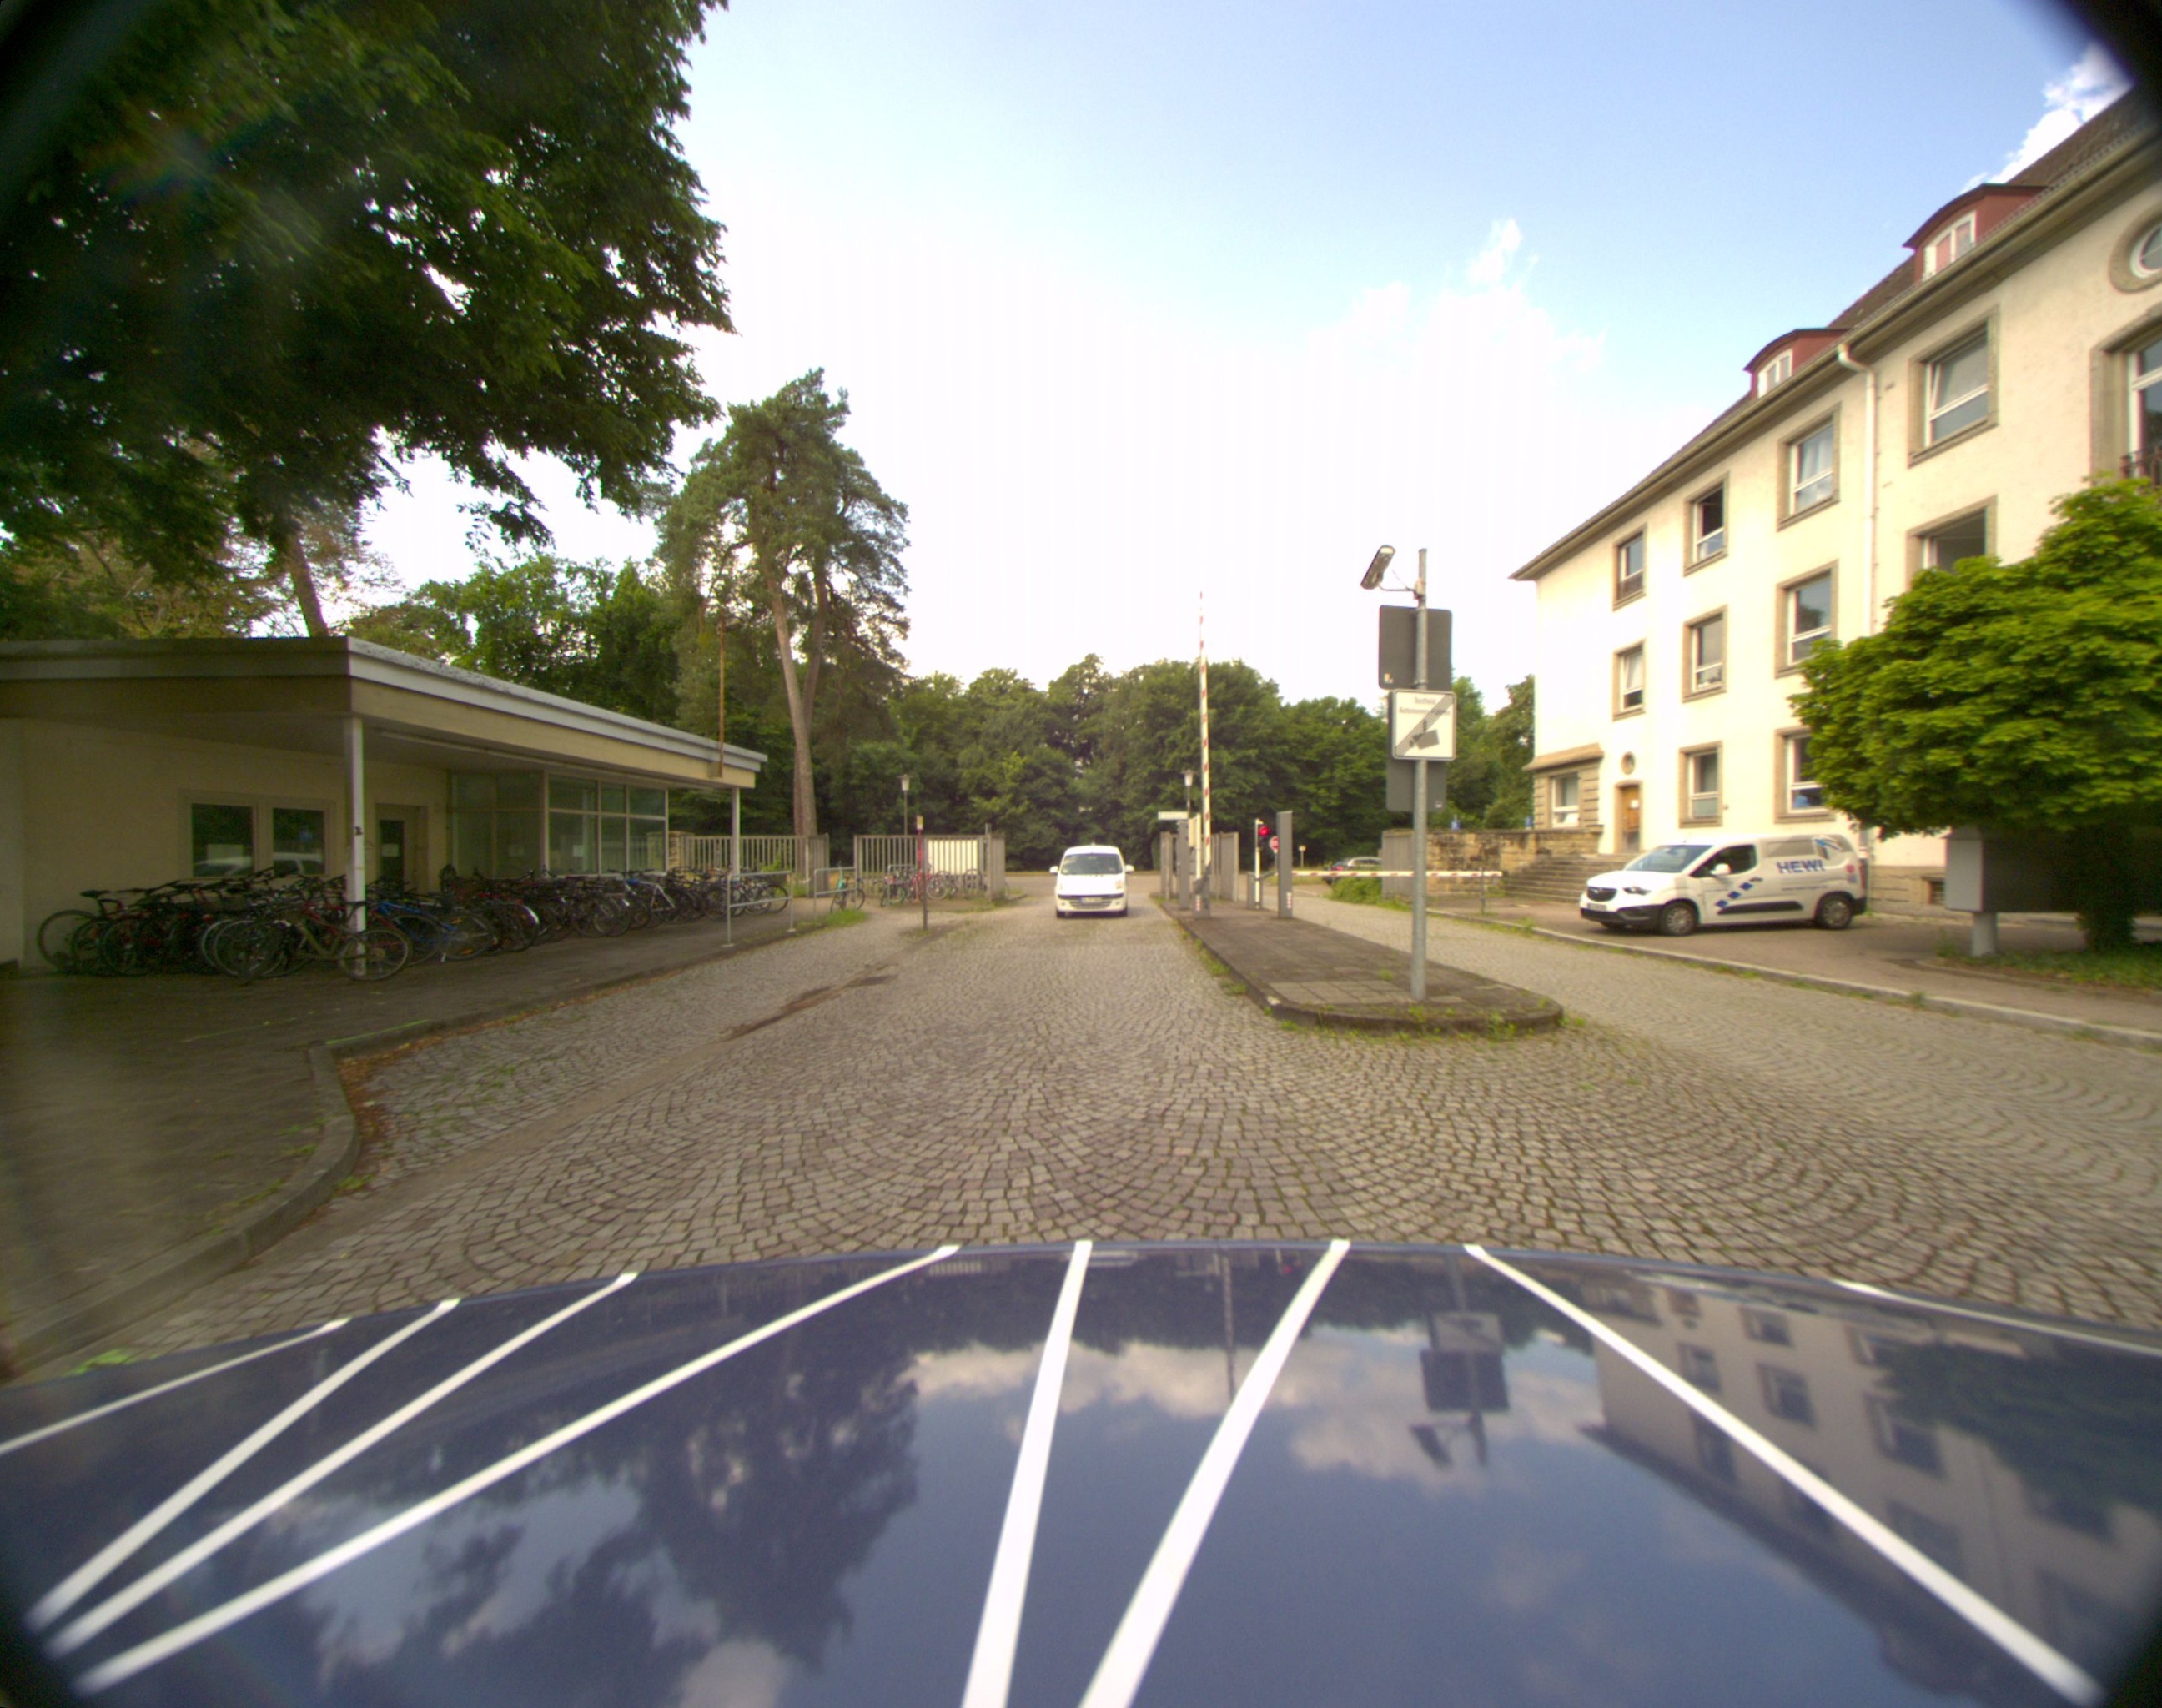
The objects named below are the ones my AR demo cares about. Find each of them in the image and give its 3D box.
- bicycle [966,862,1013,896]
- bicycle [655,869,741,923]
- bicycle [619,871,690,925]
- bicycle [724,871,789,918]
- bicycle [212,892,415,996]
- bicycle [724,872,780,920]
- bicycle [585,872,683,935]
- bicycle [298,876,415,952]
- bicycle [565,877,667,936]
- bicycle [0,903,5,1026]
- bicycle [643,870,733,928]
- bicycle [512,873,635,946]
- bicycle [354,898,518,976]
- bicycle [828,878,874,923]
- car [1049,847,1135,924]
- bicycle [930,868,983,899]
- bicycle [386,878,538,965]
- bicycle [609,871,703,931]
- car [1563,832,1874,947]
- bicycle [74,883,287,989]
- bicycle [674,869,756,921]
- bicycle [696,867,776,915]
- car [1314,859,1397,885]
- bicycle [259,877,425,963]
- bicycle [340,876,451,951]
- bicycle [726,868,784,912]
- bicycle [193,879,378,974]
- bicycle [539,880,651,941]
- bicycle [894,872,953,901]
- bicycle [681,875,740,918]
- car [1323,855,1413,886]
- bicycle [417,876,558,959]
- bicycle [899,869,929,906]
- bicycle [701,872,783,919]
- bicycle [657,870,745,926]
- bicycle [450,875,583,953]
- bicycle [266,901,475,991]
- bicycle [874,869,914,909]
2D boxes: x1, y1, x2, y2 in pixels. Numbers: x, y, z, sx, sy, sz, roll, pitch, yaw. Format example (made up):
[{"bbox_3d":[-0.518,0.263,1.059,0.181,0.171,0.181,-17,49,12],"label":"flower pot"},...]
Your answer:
[{"bbox_3d":[-3.378,0.929,28.152,1.655,1.223,0.749,1,1,-6],"label":"bicycle"},{"bbox_3d":[-8.259,0.903,16.405,1.617,1.134,0.356,1,0,-6],"label":"bicycle"},{"bbox_3d":[-9.370,0.935,16.777,0.491,1.069,1.832,1,0,1],"label":"bicycle"},{"bbox_3d":[-7.676,0.948,17.991,1.408,1.040,0.338,-1,1,-25],"label":"bicycle"},{"bbox_3d":[-8.563,0.997,8.519,1.682,1.102,0.338,1,0,-12],"label":"bicycle"},{"bbox_3d":[-7.607,0.965,17.599,1.154,1.056,0.286,-1,1,-19],"label":"bicycle"},{"bbox_3d":[-8.493,0.938,14.448,1.596,1.134,0.325,1,0,-6],"label":"bicycle"},{"bbox_3d":[-11.534,0.921,12.167,0.480,1.069,1.680,1,0,-9],"label":"bicycle"},{"bbox_3d":[-8.558,0.970,14.010,1.596,1.044,0.325,1,0,-6],"label":"bicycle"},{"bbox_3d":[-10.035,0.988,6.046,0.598,1.110,1.635,1,0,1],"label":"bicycle"},{"bbox_3d":[-8.041,0.918,15.571,1.617,1.134,0.325,1,0,-6],"label":"bicycle"},{"bbox_3d":[-8.469,0.925,12.731,1.635,1.183,0.498,1,0,-11],"label":"bicycle"},{"bbox_3d":[-8.624,1.094,10.226,1.638,0.970,0.322,1,0,-28],"label":"bicycle"},{"bbox_3d":[-5.450,1.079,18.090,0.535,0.947,1.655,0,1,2],"label":"bicycle"},{"bbox_3d":[0.396,0.738,20.008,1.866,1.749,4.151,-2,0,5],"label":"car"},{"bbox_3d":[-4.312,1.030,26.317,1.730,1.027,0.387,1,1,3],"label":"bicycle"},{"bbox_3d":[-8.796,0.959,10.846,1.635,1.183,0.473,1,0,-12],"label":"bicycle"},{"bbox_3d":[-8.435,0.933,15.118,1.617,1.134,0.325,1,0,-6],"label":"bicycle"},{"bbox_3d":[11.857,0.620,14.346,4.312,1.796,1.820,-3,1,0],"label":"car"},{"bbox_3d":[-10.669,0.957,9.044,1.745,1.158,0.608,1,0,-2],"label":"bicycle"},{"bbox_3d":[-8.199,0.918,17.057,1.617,1.134,0.356,1,0,-6],"label":"bicycle"},{"bbox_3d":[-8.546,0.895,18.863,1.744,1.125,0.473,-1,1,-42],"label":"bicycle"},{"bbox_3d":[15.073,0.974,41.906,3.994,1.338,1.803,-1,0,8],"label":"car"},{"bbox_3d":[-10.654,0.944,10.992,1.745,1.158,0.608,1,0,-2],"label":"bicycle"},{"bbox_3d":[-10.961,0.921,12.217,0.480,1.069,1.680,1,0,-9],"label":"bicycle"},{"bbox_3d":[-8.843,0.957,20.667,0.648,1.132,1.682,0,0,8],"label":"bicycle"},{"bbox_3d":[-10.502,0.946,10.068,1.745,1.158,0.608,1,0,-2],"label":"bicycle"},{"bbox_3d":[-8.566,0.999,13.429,1.636,1.044,0.334,1,0,-13],"label":"bicycle"},{"bbox_3d":[-5.253,1.077,25.438,1.868,0.934,0.503,1,0,-3],"label":"bicycle"},{"bbox_3d":[-9.288,1.038,19.089,0.404,1.004,1.359,0,0,25],"label":"bicycle"},{"bbox_3d":[14.510,0.824,38.631,3.994,1.508,1.803,-1,0,8],"label":"car"},{"bbox_3d":[-8.810,0.943,11.324,1.635,1.183,0.419,1,0,-11],"label":"bicycle"},{"bbox_3d":[-5.101,1.009,23.260,0.474,1.051,1.733,0,0,2],"label":"bicycle"},{"bbox_3d":[-8.182,0.979,18.392,1.753,1.040,0.453,-1,1,-37],"label":"bicycle"},{"bbox_3d":[-7.973,0.914,15.954,1.617,1.134,0.325,1,0,-6],"label":"bicycle"},{"bbox_3d":[-8.841,0.940,11.938,1.635,1.183,0.419,1,0,-11],"label":"bicycle"},{"bbox_3d":[-8.709,1.097,9.422,1.749,0.970,0.757,1,0,-28],"label":"bicycle"},{"bbox_3d":[-5.242,0.972,21.380,0.692,1.056,1.565,0,0,2],"label":"bicycle"}]
